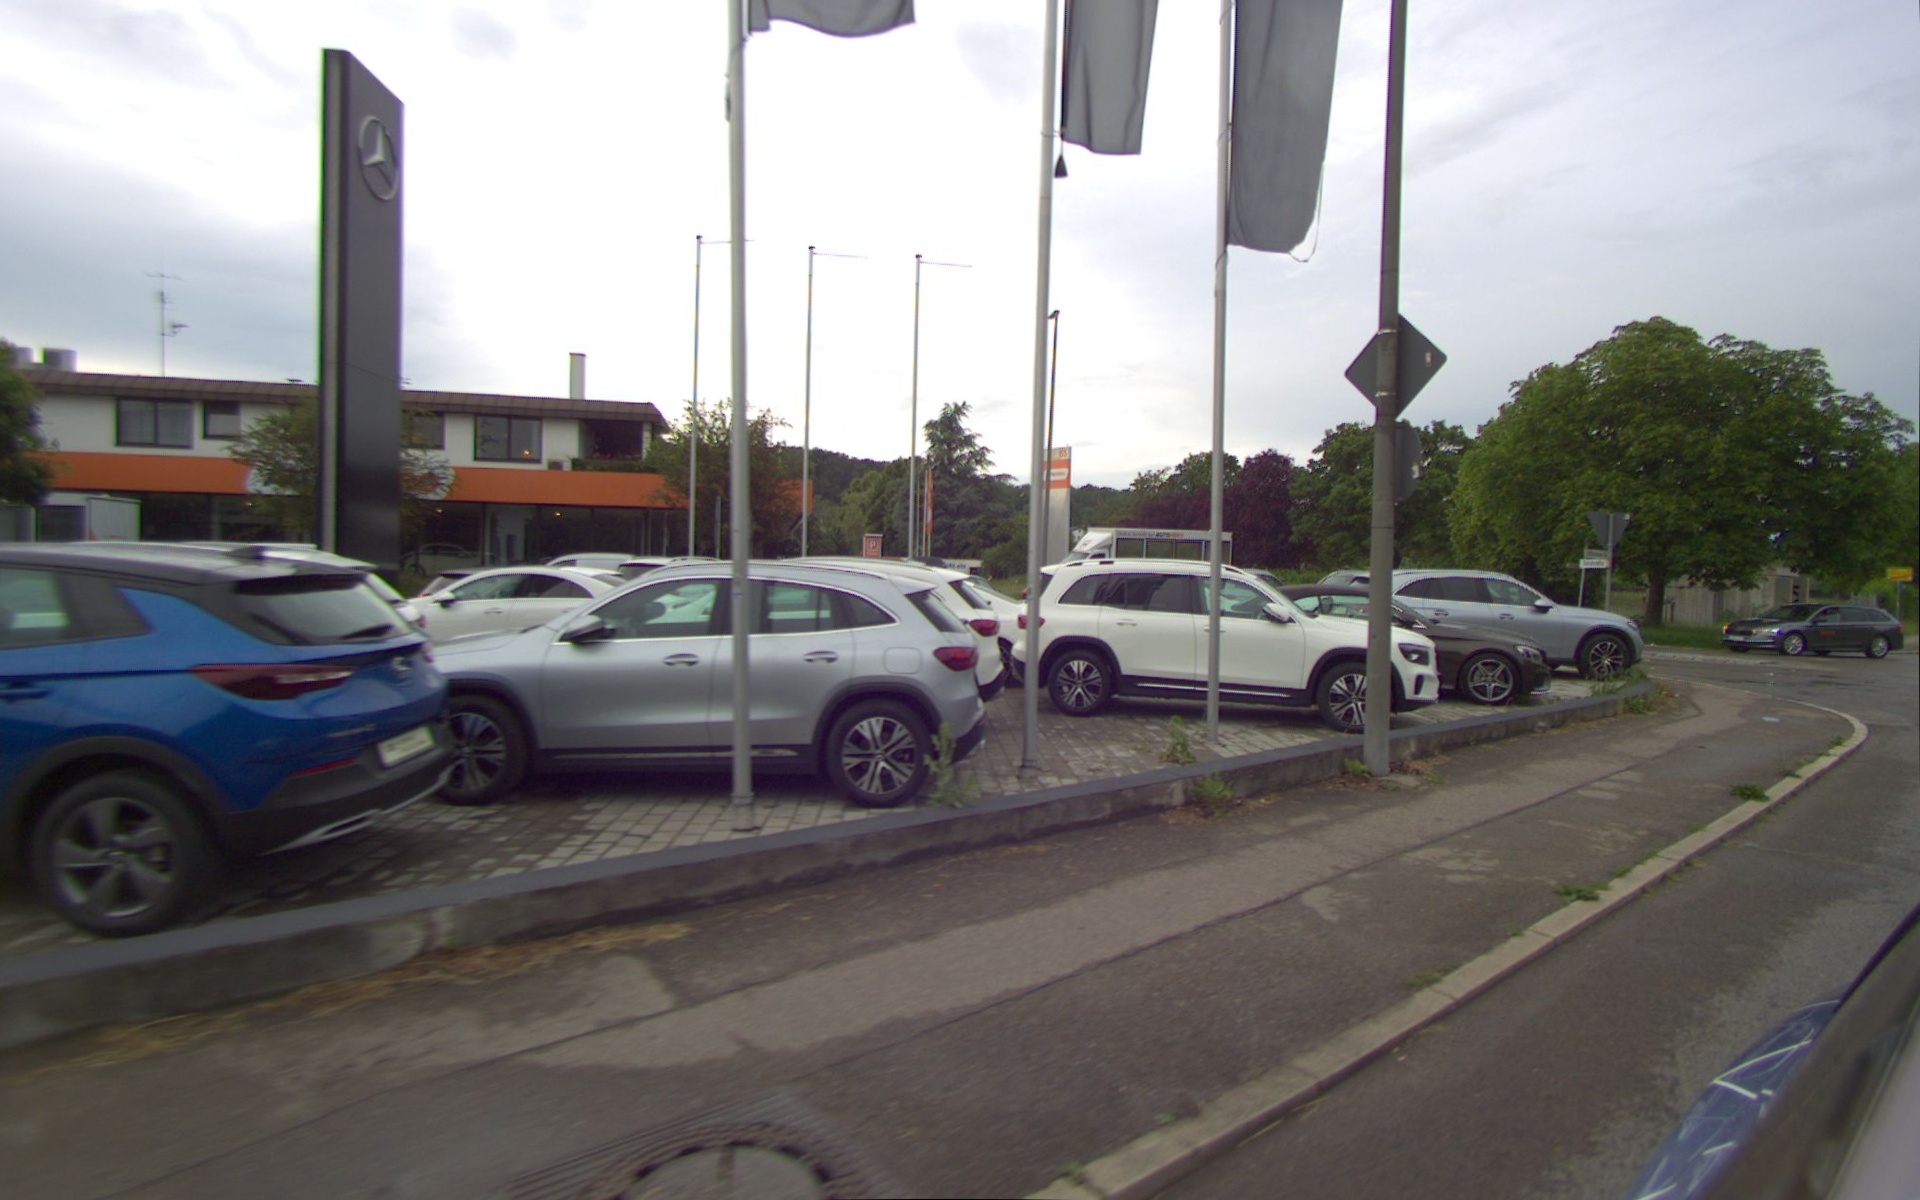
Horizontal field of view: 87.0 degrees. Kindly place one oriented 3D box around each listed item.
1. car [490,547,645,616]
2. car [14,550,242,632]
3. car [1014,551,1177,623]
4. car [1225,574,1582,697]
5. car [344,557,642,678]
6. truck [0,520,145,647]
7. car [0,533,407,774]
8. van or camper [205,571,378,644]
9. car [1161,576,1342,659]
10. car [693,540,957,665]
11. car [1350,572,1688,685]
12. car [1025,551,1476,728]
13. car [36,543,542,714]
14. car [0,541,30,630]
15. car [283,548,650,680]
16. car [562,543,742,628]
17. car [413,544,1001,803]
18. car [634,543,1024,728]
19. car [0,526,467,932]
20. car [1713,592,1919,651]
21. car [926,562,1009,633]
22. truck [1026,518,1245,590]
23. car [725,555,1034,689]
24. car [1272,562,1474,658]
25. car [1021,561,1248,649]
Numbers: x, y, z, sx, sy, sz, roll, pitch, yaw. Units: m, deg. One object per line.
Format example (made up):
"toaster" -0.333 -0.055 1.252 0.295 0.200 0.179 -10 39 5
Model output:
"car" -12.242 -0.578 31.881 4.357 2.039 1.836 -1 -1 -15
"car" -17.247 -0.219 21.267 1.959 1.497 4.008 2 1 -10
"car" 3.268 -0.285 23.512 2.058 1.479 4.712 2 1 31
"car" 5.732 0.385 13.564 4.090 1.411 1.840 1 1 20
"car" -7.296 0.258 16.139 3.908 1.662 1.774 -2 0 -5
"truck" -27.660 -0.401 28.784 6.512 3.457 2.576 -1 -1 -10
"car" -6.695 0.323 7.631 4.093 1.619 1.735 1 2 -9
"van or camper" -19.830 0.191 30.180 3.916 2.066 1.812 0 0 -13
"car" 6.659 0.330 22.851 4.430 1.697 2.023 -1 1 -44
"car" -2.105 0.032 16.185 3.920 1.742 1.680 -2 0 -5
"car" 8.765 0.410 16.195 4.283 1.692 1.966 0 0 2
"car" 3.042 0.333 11.169 4.364 1.673 1.918 1 1 15
"car" -6.662 0.267 10.464 3.920 1.565 1.906 1 1 -5
"car" -16.415 -0.220 14.860 1.959 1.460 4.419 2 1 -10
"car" -6.291 0.168 13.327 3.919 1.565 1.906 1 1 -6
"car" -6.196 -0.282 20.721 1.752 1.571 3.424 2 1 23
"car" -1.668 0.455 7.413 3.740 1.619 1.734 1 2 -3
"car" -1.227 0.294 10.004 3.489 1.619 1.666 1 2 -3
"car" -4.994 0.463 4.948 4.280 1.652 1.846 1 3 -4
"car" 23.437 0.553 27.728 4.179 1.469 1.798 1 1 1
"car" 0.180 -0.083 23.501 1.739 1.452 3.999 2 1 1
"truck" 7.041 -1.832 40.672 8.297 2.656 2.794 -1 -1 -19
"car" -1.032 0.245 13.621 3.848 1.470 1.684 -2 6 -1
"car" 8.283 0.151 20.113 4.626 1.694 1.811 -1 1 -40
"car" 3.263 0.068 19.396 4.054 1.479 1.769 2 0 7
